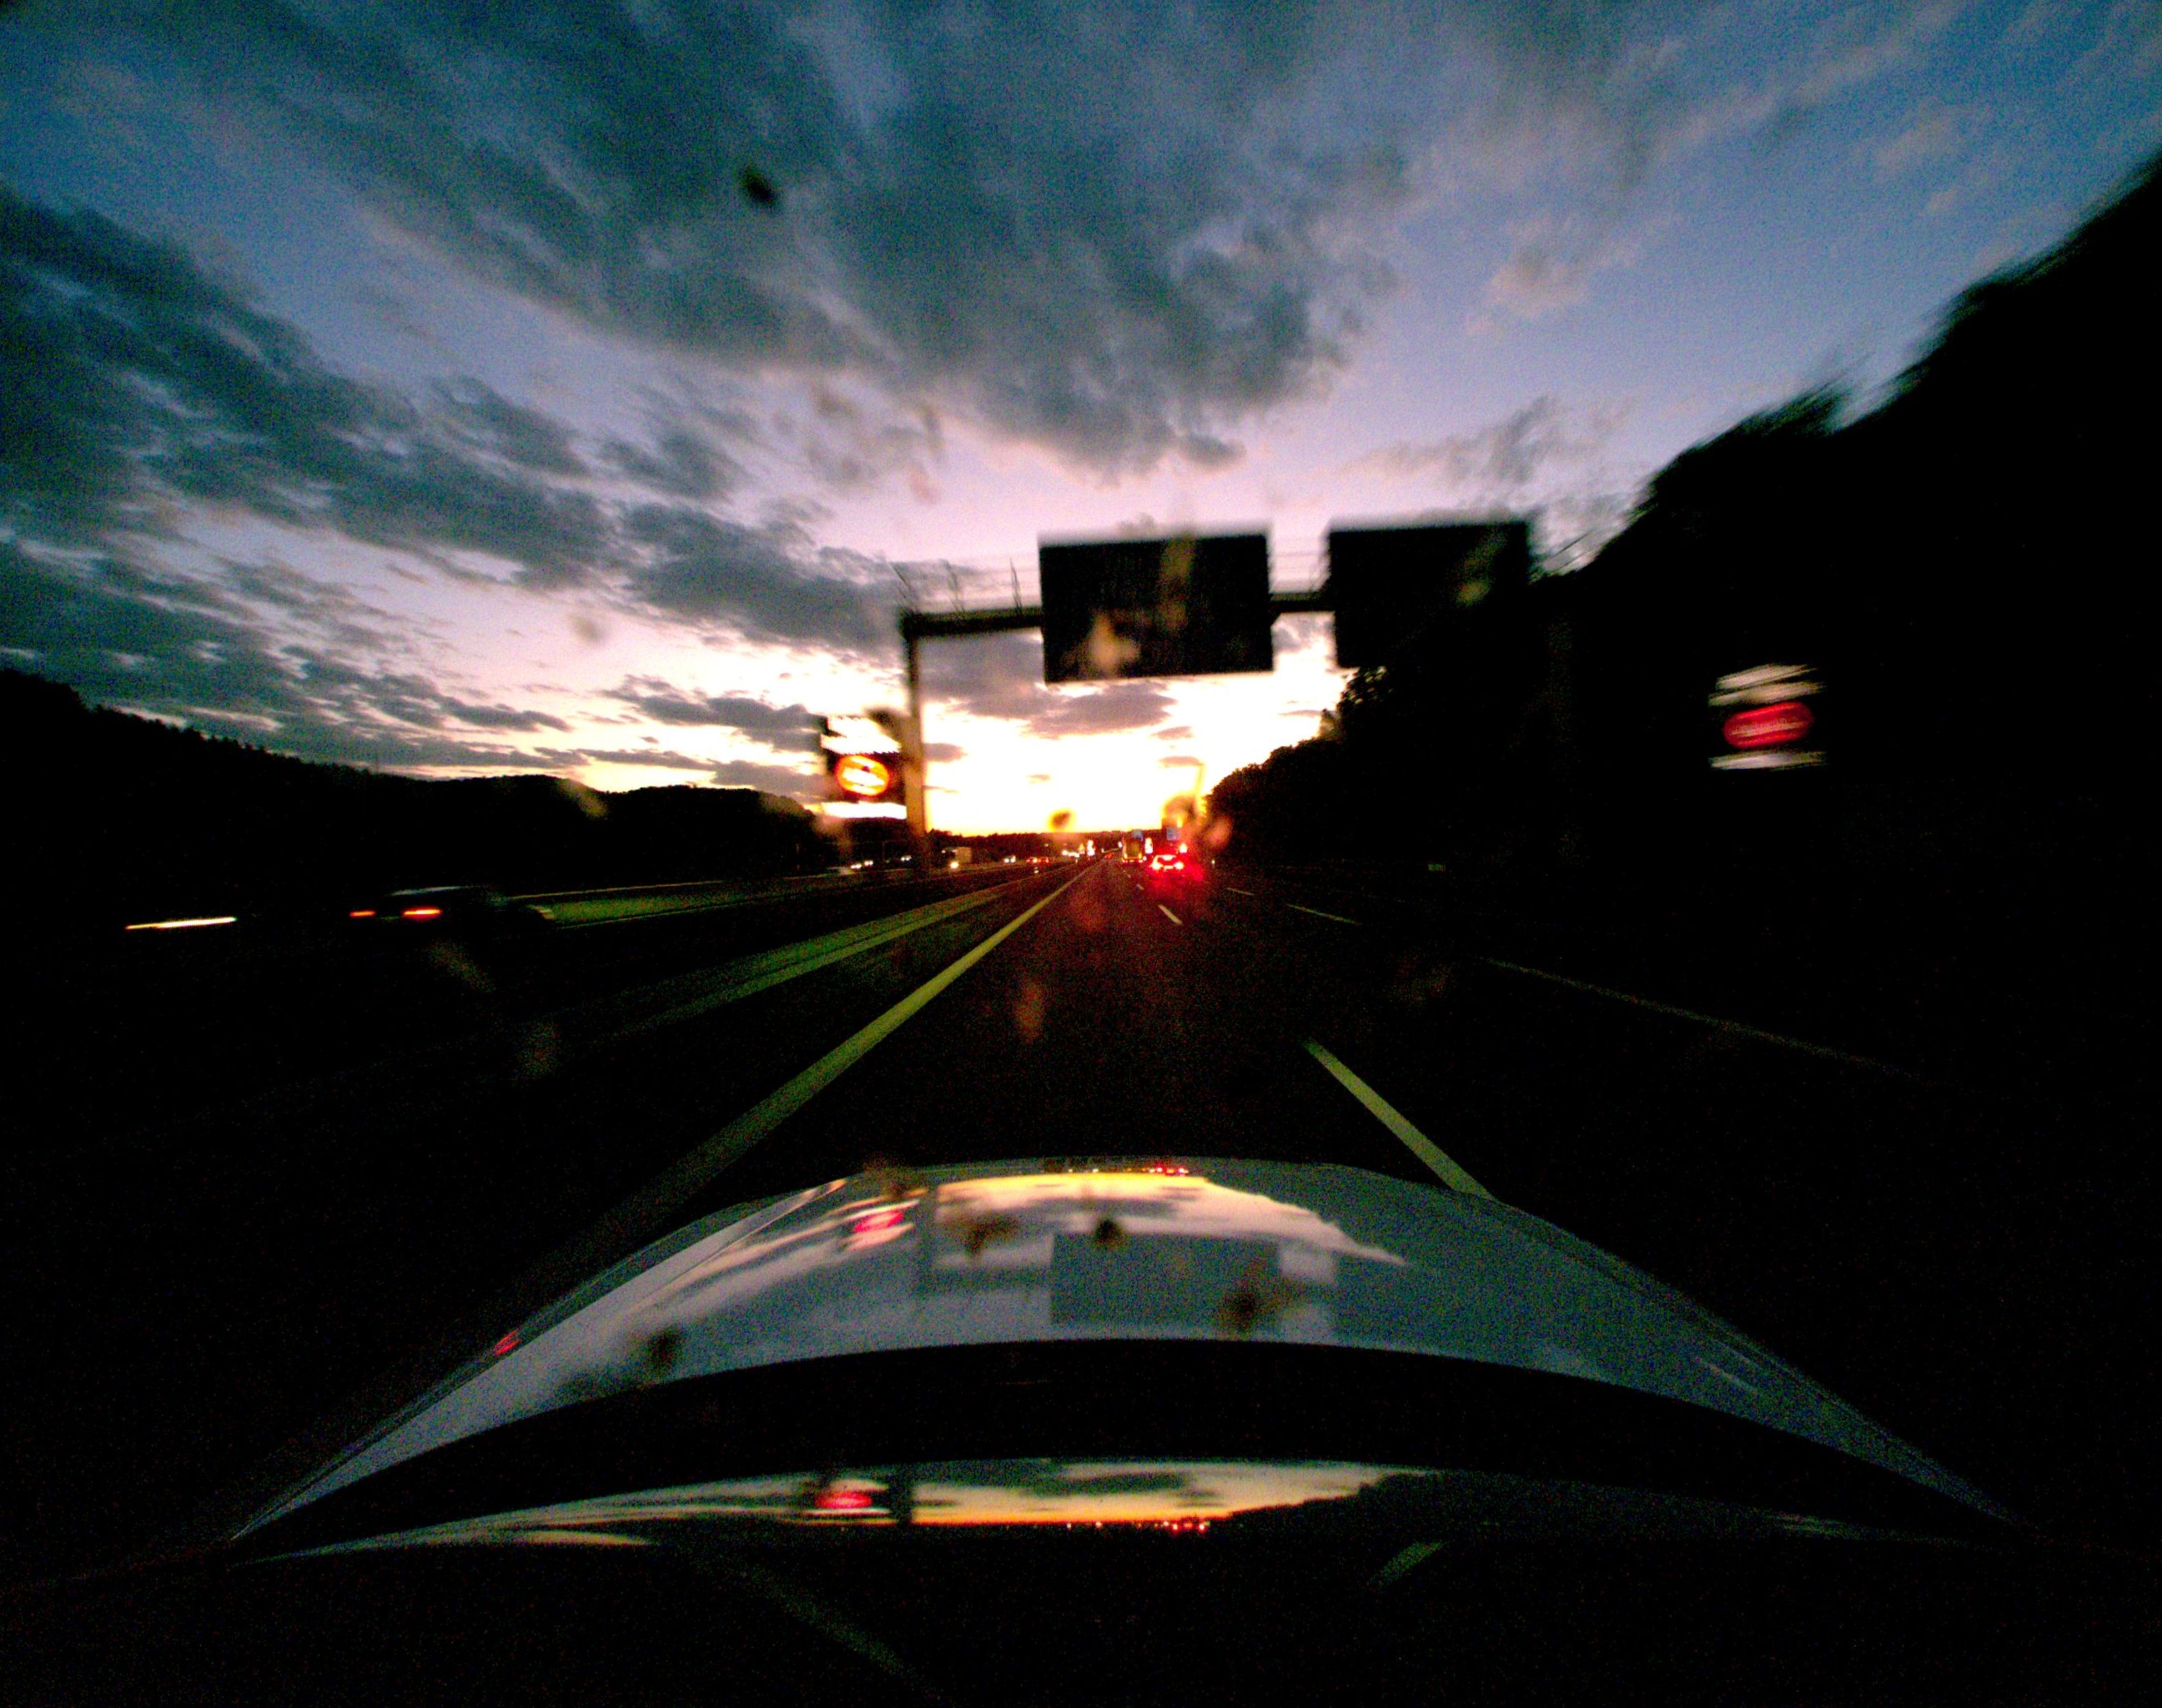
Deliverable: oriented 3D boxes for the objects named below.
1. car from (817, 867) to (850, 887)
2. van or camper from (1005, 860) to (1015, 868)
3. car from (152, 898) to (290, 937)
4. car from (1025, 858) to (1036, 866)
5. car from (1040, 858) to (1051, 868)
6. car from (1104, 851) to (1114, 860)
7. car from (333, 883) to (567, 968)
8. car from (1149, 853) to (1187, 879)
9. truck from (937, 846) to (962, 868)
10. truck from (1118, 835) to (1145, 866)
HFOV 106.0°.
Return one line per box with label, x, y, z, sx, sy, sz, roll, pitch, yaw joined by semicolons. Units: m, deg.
car;-22.423;2.050;73.984;1.676;1.706;3.753;-2;0;2
van or camper;-17.805;2.415;203.984;1.884;1.907;5.540;-2;0;0
car;-36.919;2.690;35.125;1.762;1.319;3.892;-3;0;0
car;-10.052;1.548;162.562;1.632;1.546;3.397;-3;-1;2
car;-6.407;1.604;147.867;1.706;1.605;3.723;-3;-1;2
car;6.137;0.352;179.476;1.986;2.013;4.001;-3;-1;2
car;-14.641;1.575;19.310;1.865;1.561;4.521;-3;0;2
car;5.268;0.709;49.786;1.909;1.442;4.000;-3;0;0
truck;-23.896;0.556;147.878;3.298;3.619;5.498;-3;-1;1
truck;7.501;-0.491;122.200;3.497;4.301;9.894;-3;-1;1
